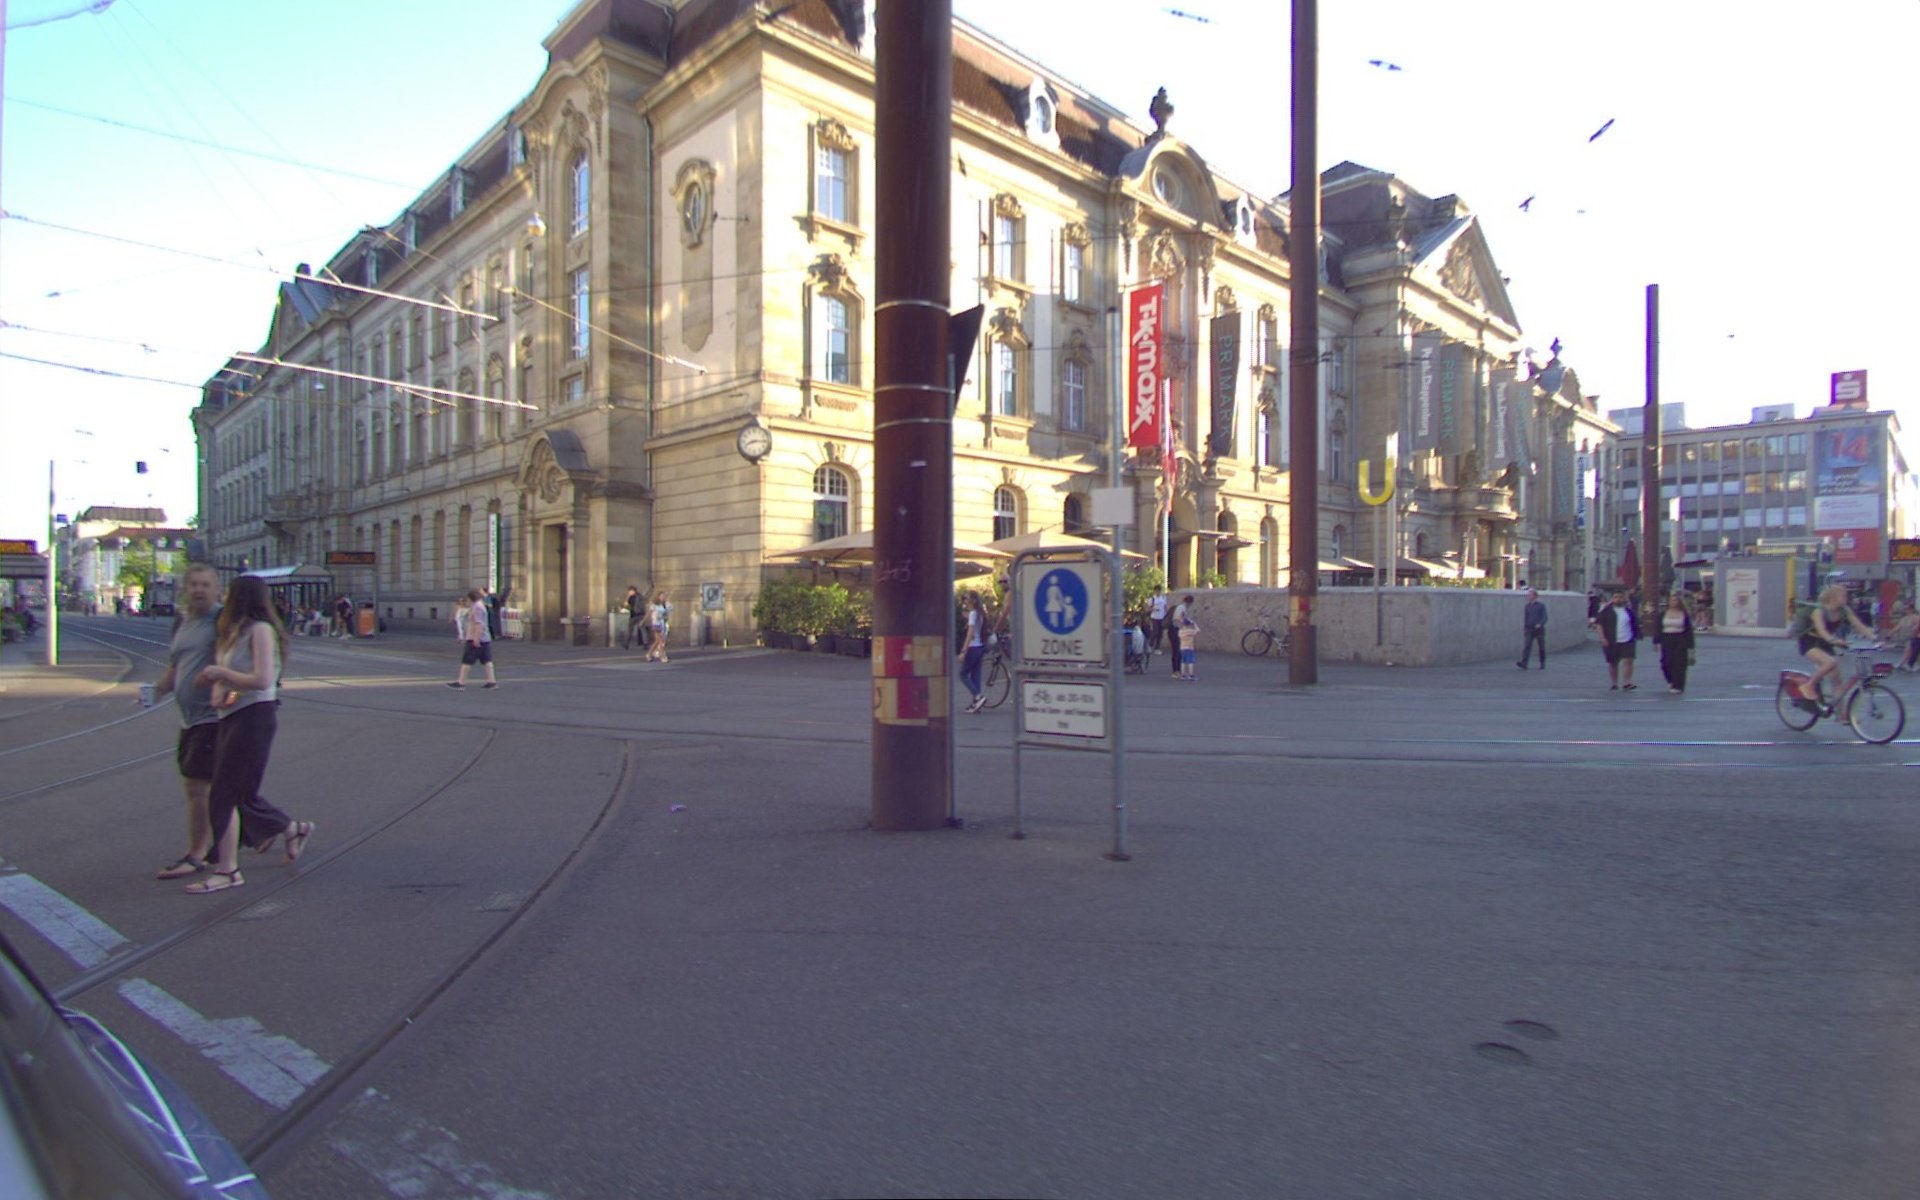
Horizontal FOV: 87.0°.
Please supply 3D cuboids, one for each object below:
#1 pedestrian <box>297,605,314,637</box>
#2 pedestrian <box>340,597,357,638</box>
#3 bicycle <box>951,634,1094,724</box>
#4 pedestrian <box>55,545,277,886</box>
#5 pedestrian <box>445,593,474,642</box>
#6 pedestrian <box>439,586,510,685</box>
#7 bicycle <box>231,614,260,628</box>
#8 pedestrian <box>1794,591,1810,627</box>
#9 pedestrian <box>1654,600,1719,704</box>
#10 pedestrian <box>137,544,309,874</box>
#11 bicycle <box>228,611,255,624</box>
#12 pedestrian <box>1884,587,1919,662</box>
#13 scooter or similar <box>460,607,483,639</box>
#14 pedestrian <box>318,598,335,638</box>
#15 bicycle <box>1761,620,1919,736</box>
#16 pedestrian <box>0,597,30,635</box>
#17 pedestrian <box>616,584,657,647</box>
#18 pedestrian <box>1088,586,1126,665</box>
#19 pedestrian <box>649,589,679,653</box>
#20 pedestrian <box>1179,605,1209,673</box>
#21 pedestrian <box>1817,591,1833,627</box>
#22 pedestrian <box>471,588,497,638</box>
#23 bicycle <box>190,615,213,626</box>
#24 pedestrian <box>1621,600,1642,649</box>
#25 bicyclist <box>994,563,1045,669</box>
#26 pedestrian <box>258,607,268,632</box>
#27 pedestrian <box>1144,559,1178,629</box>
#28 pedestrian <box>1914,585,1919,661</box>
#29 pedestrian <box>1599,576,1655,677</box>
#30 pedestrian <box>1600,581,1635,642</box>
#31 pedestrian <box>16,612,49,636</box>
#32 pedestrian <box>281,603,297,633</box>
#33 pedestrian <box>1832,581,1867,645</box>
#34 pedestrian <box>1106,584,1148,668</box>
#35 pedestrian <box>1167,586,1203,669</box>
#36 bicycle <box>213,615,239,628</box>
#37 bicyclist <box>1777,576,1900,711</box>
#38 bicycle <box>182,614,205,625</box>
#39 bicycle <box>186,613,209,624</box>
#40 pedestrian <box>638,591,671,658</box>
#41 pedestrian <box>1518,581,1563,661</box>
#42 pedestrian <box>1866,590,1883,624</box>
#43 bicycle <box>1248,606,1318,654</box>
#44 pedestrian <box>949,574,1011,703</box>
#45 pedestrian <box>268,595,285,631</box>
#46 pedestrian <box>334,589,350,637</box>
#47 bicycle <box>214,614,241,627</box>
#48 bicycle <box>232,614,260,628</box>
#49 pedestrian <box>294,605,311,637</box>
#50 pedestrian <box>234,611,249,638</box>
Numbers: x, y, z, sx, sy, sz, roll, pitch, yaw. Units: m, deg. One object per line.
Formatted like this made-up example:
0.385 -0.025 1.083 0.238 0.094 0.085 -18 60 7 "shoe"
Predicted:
-27.583 0.879 42.634 0.511 1.337 0.639 0 0 -41 "pedestrian"
-25.050 0.703 41.452 0.511 1.658 0.639 0 0 -41 "pedestrian"
0.842 1.060 14.058 2.020 1.106 0.567 0 1 39 "bicycle"
-4.317 0.581 5.536 0.605 1.713 0.741 0 -1 20 "pedestrian"
-17.000 0.578 34.374 0.631 1.626 0.691 -1 0 44 "pedestrian"
-8.304 0.593 17.312 0.832 1.641 0.795 -1 -1 33 "pedestrian"
-48.624 1.447 68.872 1.556 0.880 0.451 -1 1 -40 "bicycle"
31.063 0.329 37.342 0.451 1.309 0.424 0 1 40 "pedestrian"
12.134 0.850 16.912 0.522 1.687 0.756 1 -1 -38 "pedestrian"
-3.822 0.531 5.270 0.445 1.605 0.567 0 -1 20 "pedestrian"
-50.841 1.228 71.599 1.556 0.880 0.451 -1 1 -40 "bicycle"
21.165 0.547 22.538 0.674 1.649 0.587 1 -1 -10 "pedestrian"
-19.132 0.892 39.624 0.481 1.190 1.295 -1 1 -42 "scooter or similar"
-25.824 0.731 41.251 0.511 1.581 0.639 0 0 -41 "pedestrian"
10.007 0.811 11.167 0.690 1.124 1.921 -1 1 -5 "bicycle"
-41.542 0.698 44.430 0.677 1.650 0.862 0 0 -4 "pedestrian"
-8.691 0.406 27.195 0.972 1.641 0.681 -1 -1 45 "pedestrian"
3.101 0.535 21.354 0.662 1.626 0.767 0 -1 20 "pedestrian"
-7.198 0.505 24.609 0.499 1.537 0.514 -1 -1 30 "pedestrian"
4.377 0.726 18.948 0.479 1.252 0.411 0 -1 6 "pedestrian"
31.988 0.318 37.439 0.451 1.309 0.424 0 1 40 "pedestrian"
-17.230 0.478 36.645 0.706 1.789 0.614 -1 -1 42 "pedestrian"
-62.876 1.668 83.894 1.556 0.880 0.451 -1 1 -40 "bicycle"
22.953 0.833 34.594 0.504 1.649 0.346 0 -1 8 "pedestrian"
0.827 0.216 14.051 0.563 1.438 0.416 0 1 39 "bicyclist"
-34.247 0.946 49.729 0.360 1.209 0.430 -1 0 -38 "pedestrian"
4.992 -0.161 25.169 0.717 1.718 0.494 0 1 28 "pedestrian"
21.296 0.505 21.940 0.674 1.649 0.587 1 -1 -10 "pedestrian"
11.436 0.449 17.358 0.522 1.687 0.652 1 -1 -38 "pedestrian"
18.429 0.324 28.361 0.705 1.687 0.651 1 -1 -44 "pedestrian"
-37.685 0.970 41.141 0.787 0.946 0.695 0 0 -21 "pedestrian"
-30.386 0.814 45.842 0.511 1.337 0.639 0 0 -41 "pedestrian"
24.009 0.355 27.309 0.522 1.687 0.651 1 -1 -44 "pedestrian"
3.345 0.514 20.254 0.688 1.626 0.818 0 -1 20 "pedestrian"
4.323 0.527 19.482 0.643 1.585 0.479 0 -1 9 "pedestrian"
-54.082 1.587 74.565 1.556 0.880 0.451 -1 1 -40 "bicycle"
9.981 0.470 11.526 0.590 1.476 0.875 -1 0 -5 "bicyclist"
-65.632 1.673 86.697 1.556 0.880 0.451 -1 1 -40 "bicycle"
-63.536 1.513 84.341 1.556 0.880 0.451 -1 1 -40 "bicycle"
-7.133 0.572 23.633 0.500 1.537 0.523 -1 -1 25 "pedestrian"
12.469 0.452 21.733 0.705 1.687 0.651 1 -1 -44 "pedestrian"
35.369 0.262 39.138 0.451 1.309 0.424 0 1 40 "pedestrian"
7.695 0.705 24.164 0.444 1.094 1.583 -1 1 -42 "bicycle"
0.268 0.513 13.643 0.640 1.687 0.531 1 -1 -36 "pedestrian"
-31.939 0.603 47.278 0.510 1.663 0.640 0 0 -22 "pedestrian"
-23.413 0.480 38.349 0.460 1.789 0.563 0 -1 -25 "pedestrian"
-53.370 1.497 73.727 1.556 0.880 0.451 -1 1 -40 "bicycle"
-49.682 1.451 70.458 1.556 0.880 0.451 -1 1 -40 "bicycle"
-28.136 0.878 43.313 0.511 1.337 0.639 0 0 -41 "pedestrian"
-42.844 1.445 60.374 0.435 1.617 0.571 -1 0 4 "pedestrian"
